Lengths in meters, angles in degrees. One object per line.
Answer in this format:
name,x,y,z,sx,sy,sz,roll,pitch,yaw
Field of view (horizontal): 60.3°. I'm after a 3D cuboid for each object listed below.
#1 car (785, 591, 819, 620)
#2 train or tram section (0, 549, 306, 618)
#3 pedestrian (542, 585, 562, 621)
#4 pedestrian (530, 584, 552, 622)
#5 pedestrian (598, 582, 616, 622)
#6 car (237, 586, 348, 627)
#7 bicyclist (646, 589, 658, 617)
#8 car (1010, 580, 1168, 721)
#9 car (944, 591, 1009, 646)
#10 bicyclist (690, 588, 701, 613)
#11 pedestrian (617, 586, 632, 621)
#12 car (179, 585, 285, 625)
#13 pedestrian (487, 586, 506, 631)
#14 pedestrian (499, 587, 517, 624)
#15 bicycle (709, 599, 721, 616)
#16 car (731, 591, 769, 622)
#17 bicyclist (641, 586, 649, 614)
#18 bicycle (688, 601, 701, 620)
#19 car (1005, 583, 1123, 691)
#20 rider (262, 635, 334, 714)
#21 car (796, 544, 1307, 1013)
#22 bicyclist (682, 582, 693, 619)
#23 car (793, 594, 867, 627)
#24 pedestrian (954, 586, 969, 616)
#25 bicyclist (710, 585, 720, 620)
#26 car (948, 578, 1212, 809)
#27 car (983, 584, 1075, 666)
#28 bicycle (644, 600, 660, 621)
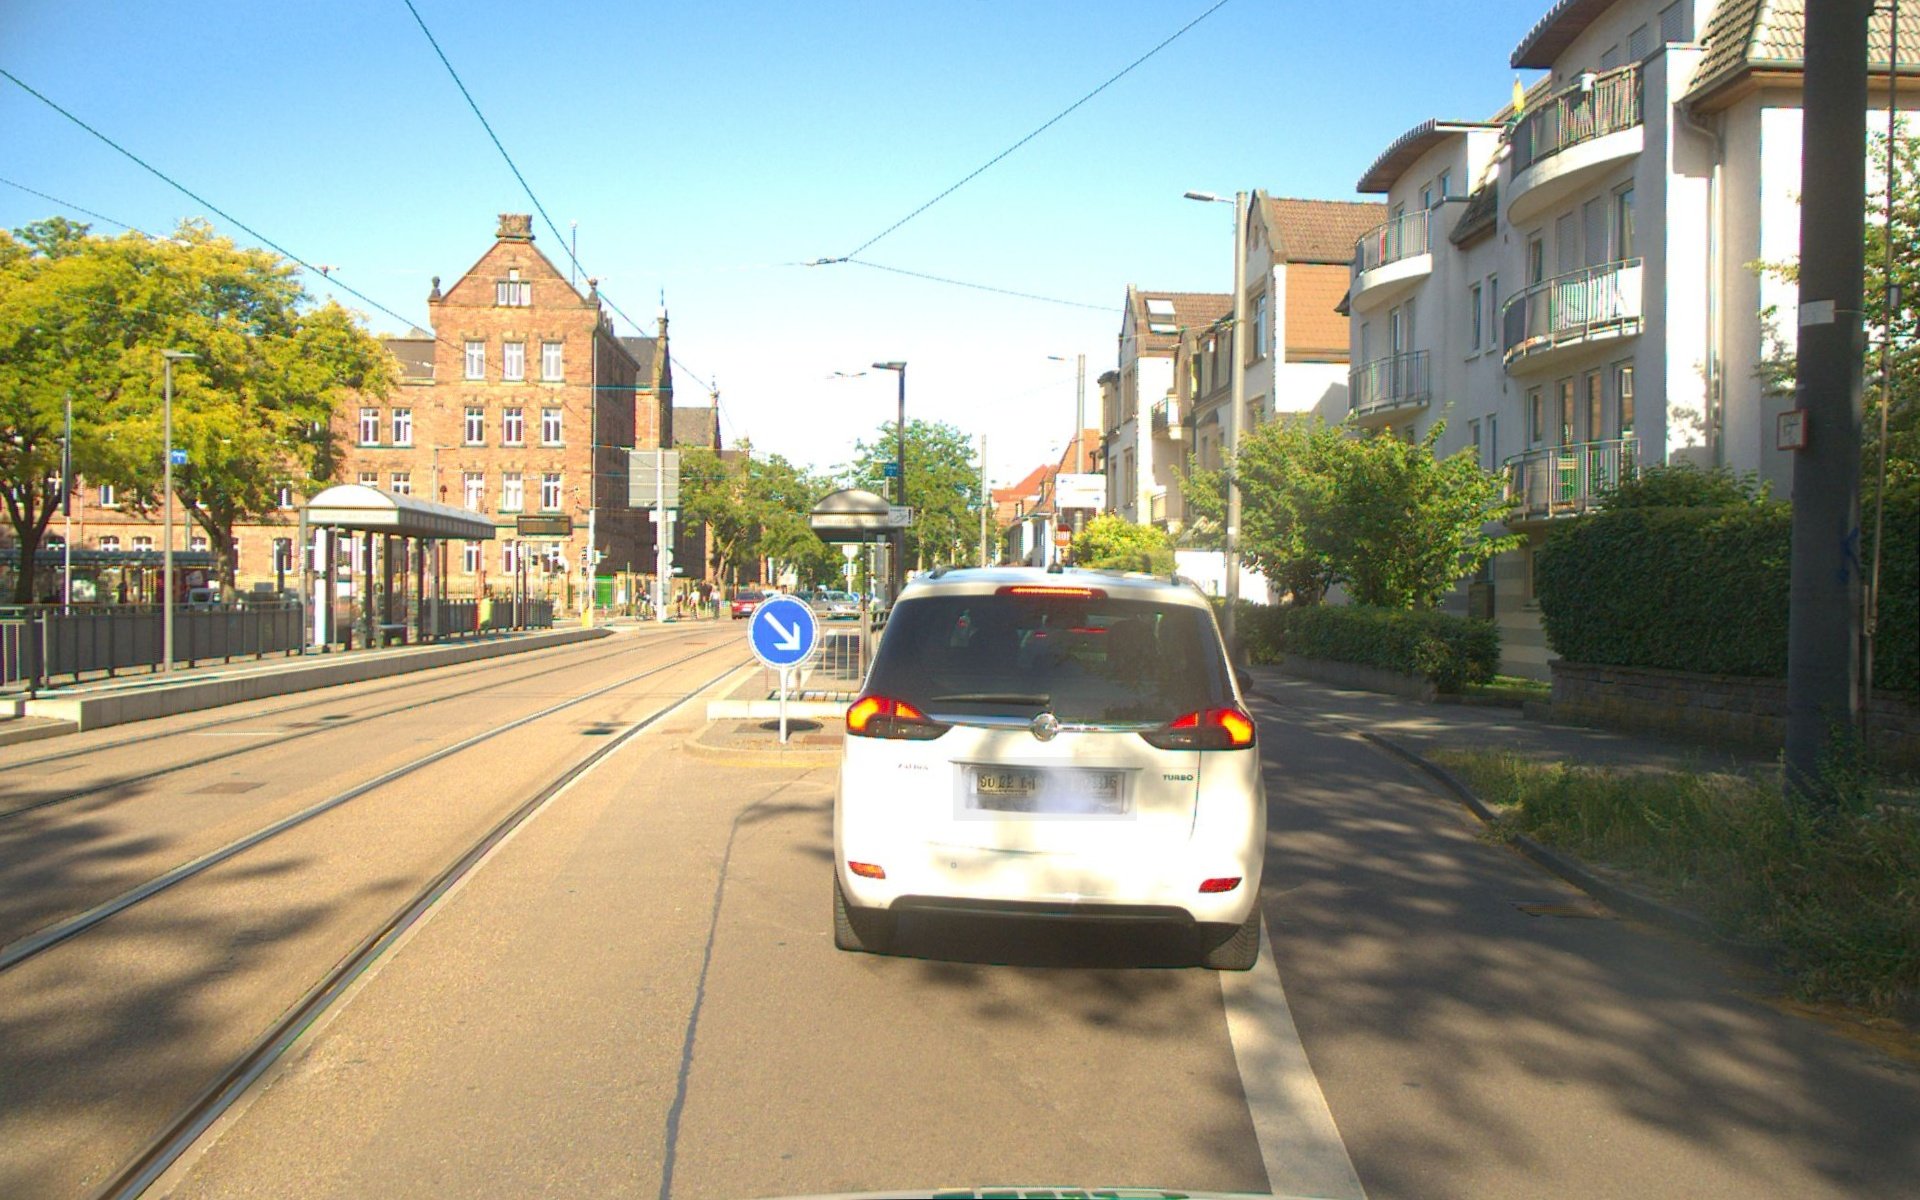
car,-9.594,0.339,100.679,1.711,1.746,3.999,1,0,-1
train or tram section,-40.749,-0.755,79.420,17.048,3.210,3.343,0,0,-6
pedestrian,-21.864,0.152,88.615,0.791,1.934,0.744,1,-1,13
pedestrian,-21.793,0.142,85.989,0.791,1.934,0.744,1,-1,13
pedestrian,-18.083,0.094,84.690,0.782,2.049,0.717,1,-1,-18
car,-28.116,0.273,69.744,3.908,1.658,1.817,1,0,-4
bicyclist,-16.531,0.160,88.727,0.520,1.503,0.572,1,-1,-1
car,1.748,0.589,21.623,1.866,1.653,4.003,0,0,6
car,0.502,0.559,53.080,1.869,1.690,3.998,0,0,-2
bicyclist,-15.594,0.025,97.414,0.520,1.503,0.572,1,-1,-1
pedestrian,-19.776,0.189,97.478,0.675,2.049,0.618,1,-1,3
car,-32.447,0.227,73.818,3.908,1.658,1.817,1,0,-4
pedestrian,-21.172,0.389,75.537,0.781,2.049,1.042,1,-1,-15
pedestrian,-21.798,0.263,79.751,0.754,1.805,0.717,1,-1,-18
bicycle,-14.435,0.465,97.393,0.477,0.988,1.405,1,0,-1
car,-12.318,0.374,97.116,1.711,1.746,3.999,1,0,-1
bicyclist,-16.104,0.001,84.587,0.307,1.469,0.384,1,-1,-1
bicycle,-15.603,0.627,97.376,0.498,1.096,1.738,1,0,-1
car,1.788,0.580,28.284,1.867,1.690,4.002,0,0,4
rider,-16.083,1.785,40.235,0.779,1.813,2.486,1,0,-2
car,0.543,0.634,8.064,1.866,1.690,4.003,0,0,6
bicyclist,-15.180,0.049,91.998,0.488,2.049,0.572,1,-1,-1
car,-7.209,0.558,91.465,3.924,1.746,1.744,1,0,39
pedestrian,0.071,0.043,106.820,0.790,1.934,0.744,1,-1,13
bicyclist,-14.430,0.143,97.489,0.478,2.049,0.502,1,-1,-1
car,1.067,0.651,13.772,1.866,1.625,4.003,0,0,6
car,1.445,0.507,36.117,1.868,1.690,4.000,0,0,0
bicycle,-16.526,0.573,88.736,0.498,1.096,1.738,1,0,-1
